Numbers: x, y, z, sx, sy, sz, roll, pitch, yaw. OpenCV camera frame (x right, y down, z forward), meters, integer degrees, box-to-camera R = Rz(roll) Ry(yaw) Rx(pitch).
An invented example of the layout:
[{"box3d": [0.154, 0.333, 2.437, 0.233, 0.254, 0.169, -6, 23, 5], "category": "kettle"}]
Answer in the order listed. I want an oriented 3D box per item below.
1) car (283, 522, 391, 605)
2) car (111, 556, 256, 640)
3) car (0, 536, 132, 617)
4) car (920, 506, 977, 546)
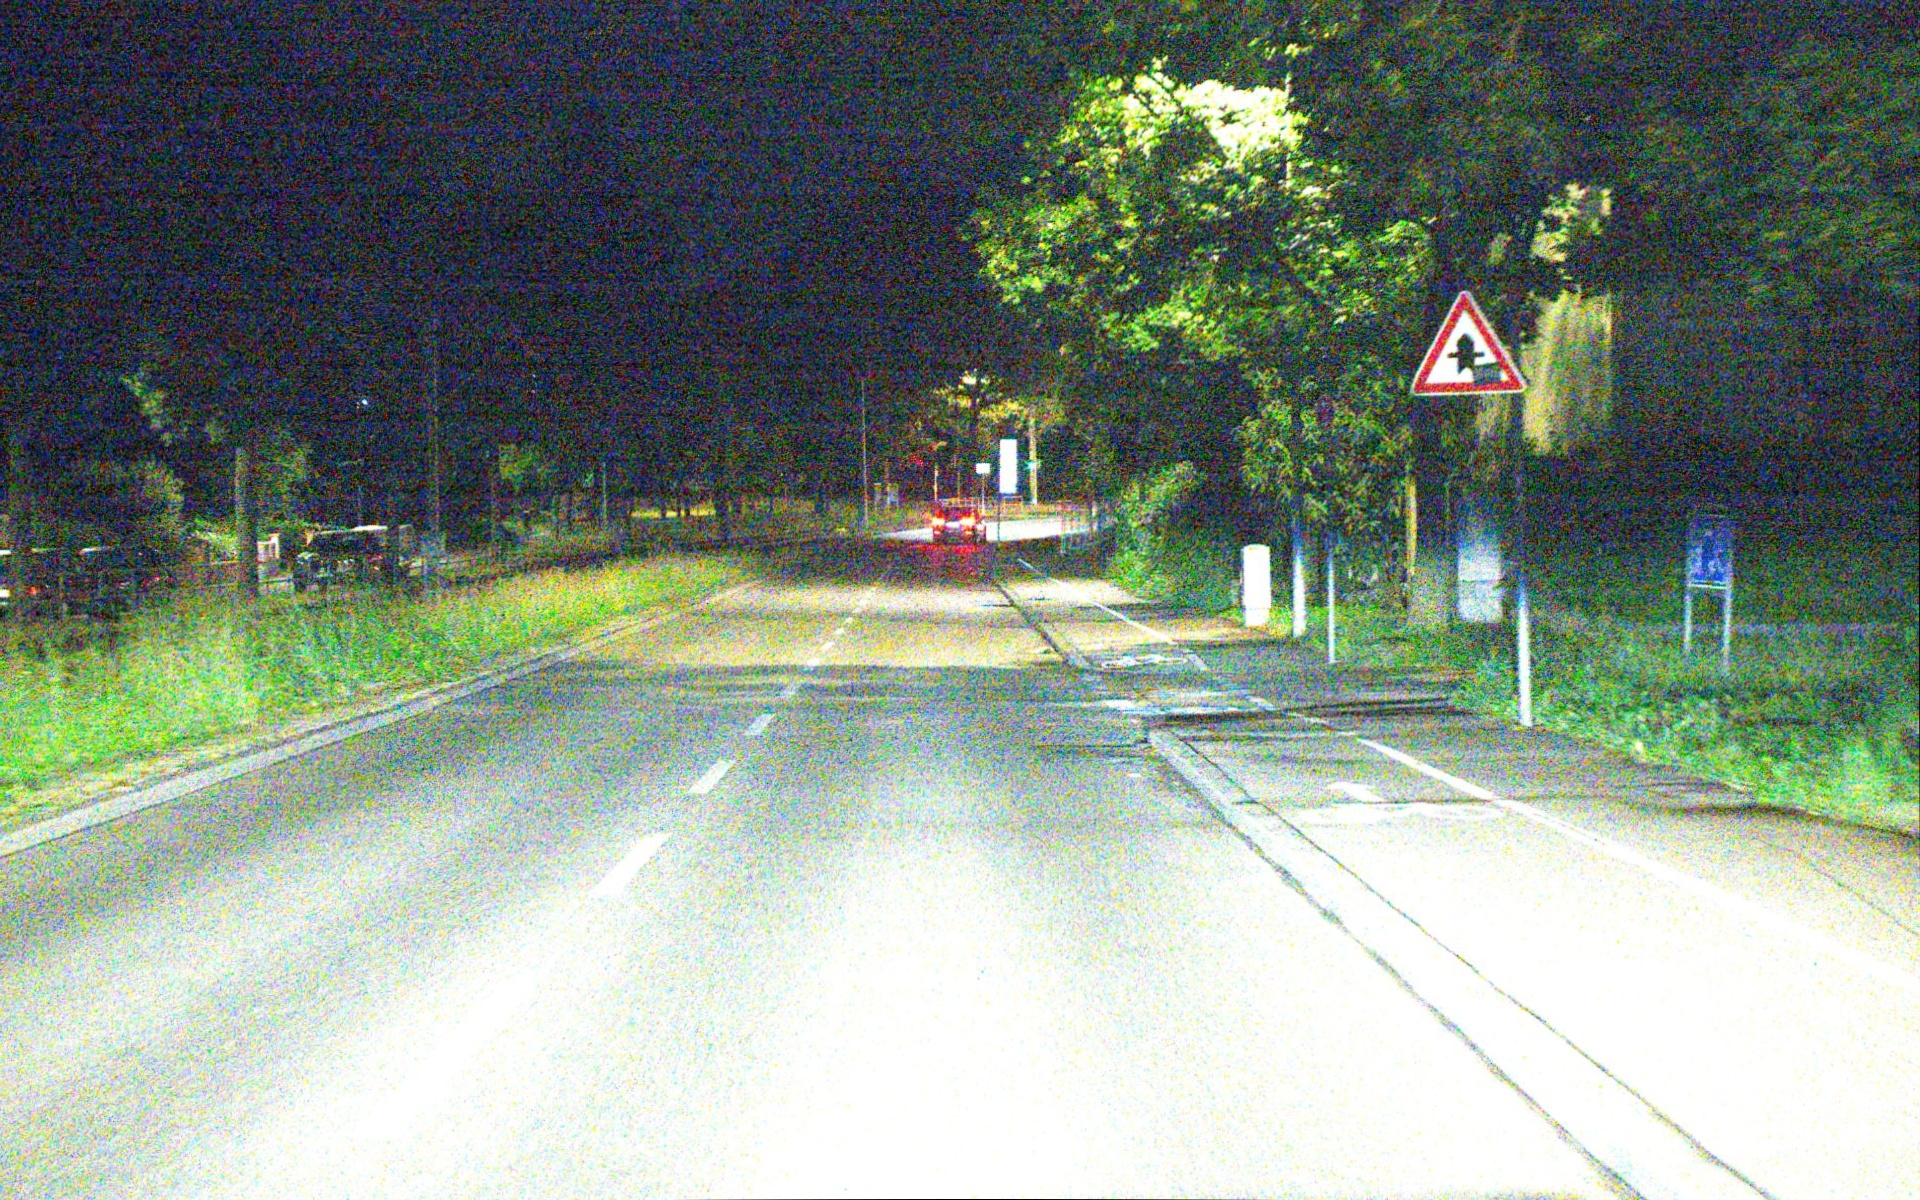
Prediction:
[{"box3d": [-16.628, -0.994, 91.994, 2.091, 2.006, 4.001, -5, 1, -1], "category": "car"}, {"box3d": [-15.144, -0.067, 67.266, 1.993, 1.525, 4.000, -1, 1, -1], "category": "car"}, {"box3d": [-16.399, -0.451, 61.407, 1.993, 1.333, 5.432, 2, 1, -1], "category": "car"}, {"box3d": [-0.461, -3.052, 142.071, 2.162, 1.577, 4.013, 0, 1, 3], "category": "car"}]
